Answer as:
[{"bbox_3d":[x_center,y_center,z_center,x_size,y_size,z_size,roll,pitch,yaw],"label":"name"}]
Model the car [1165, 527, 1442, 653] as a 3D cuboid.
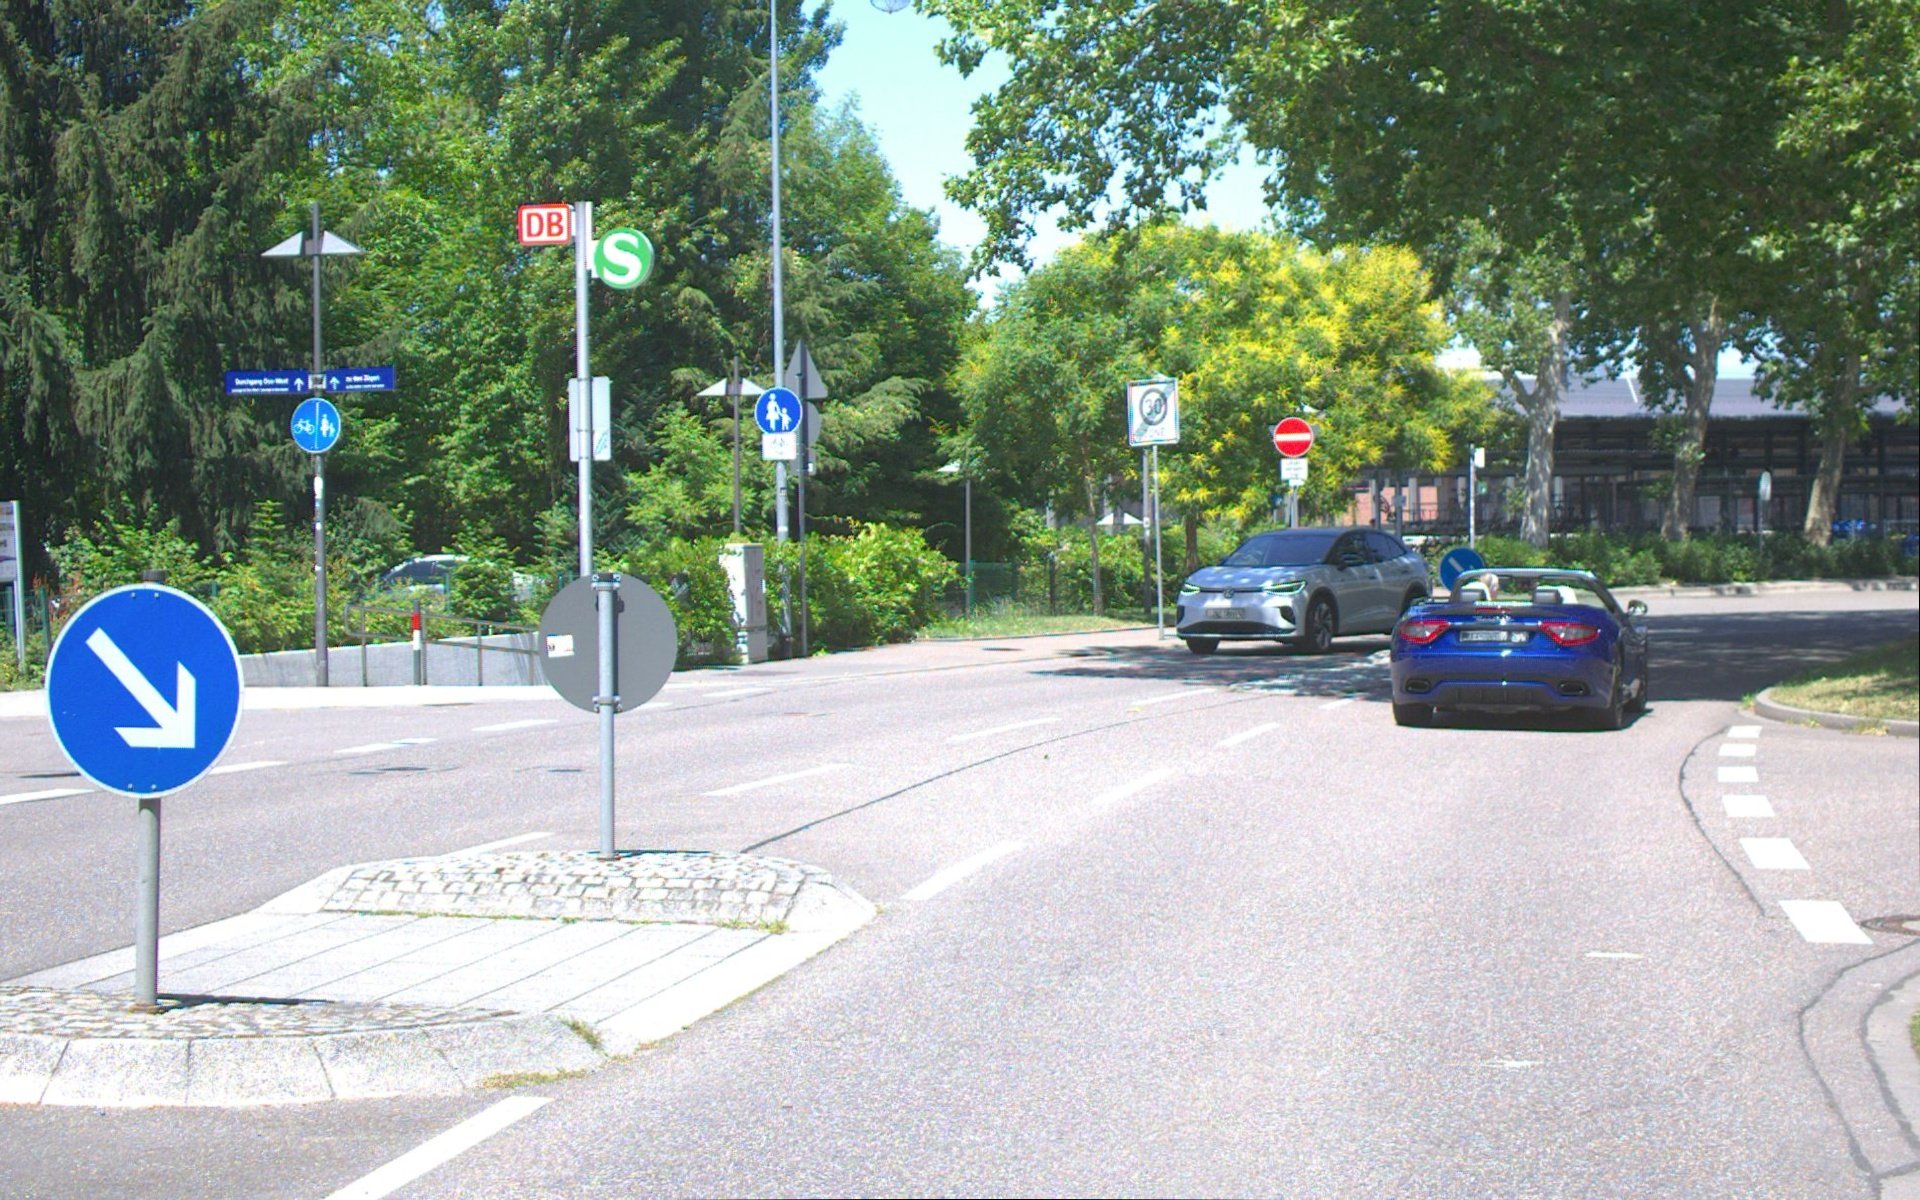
[{"bbox_3d":[4.526,-0.167,44.712,1.848,1.525,4.331,1,2,32],"label":"car"}]
